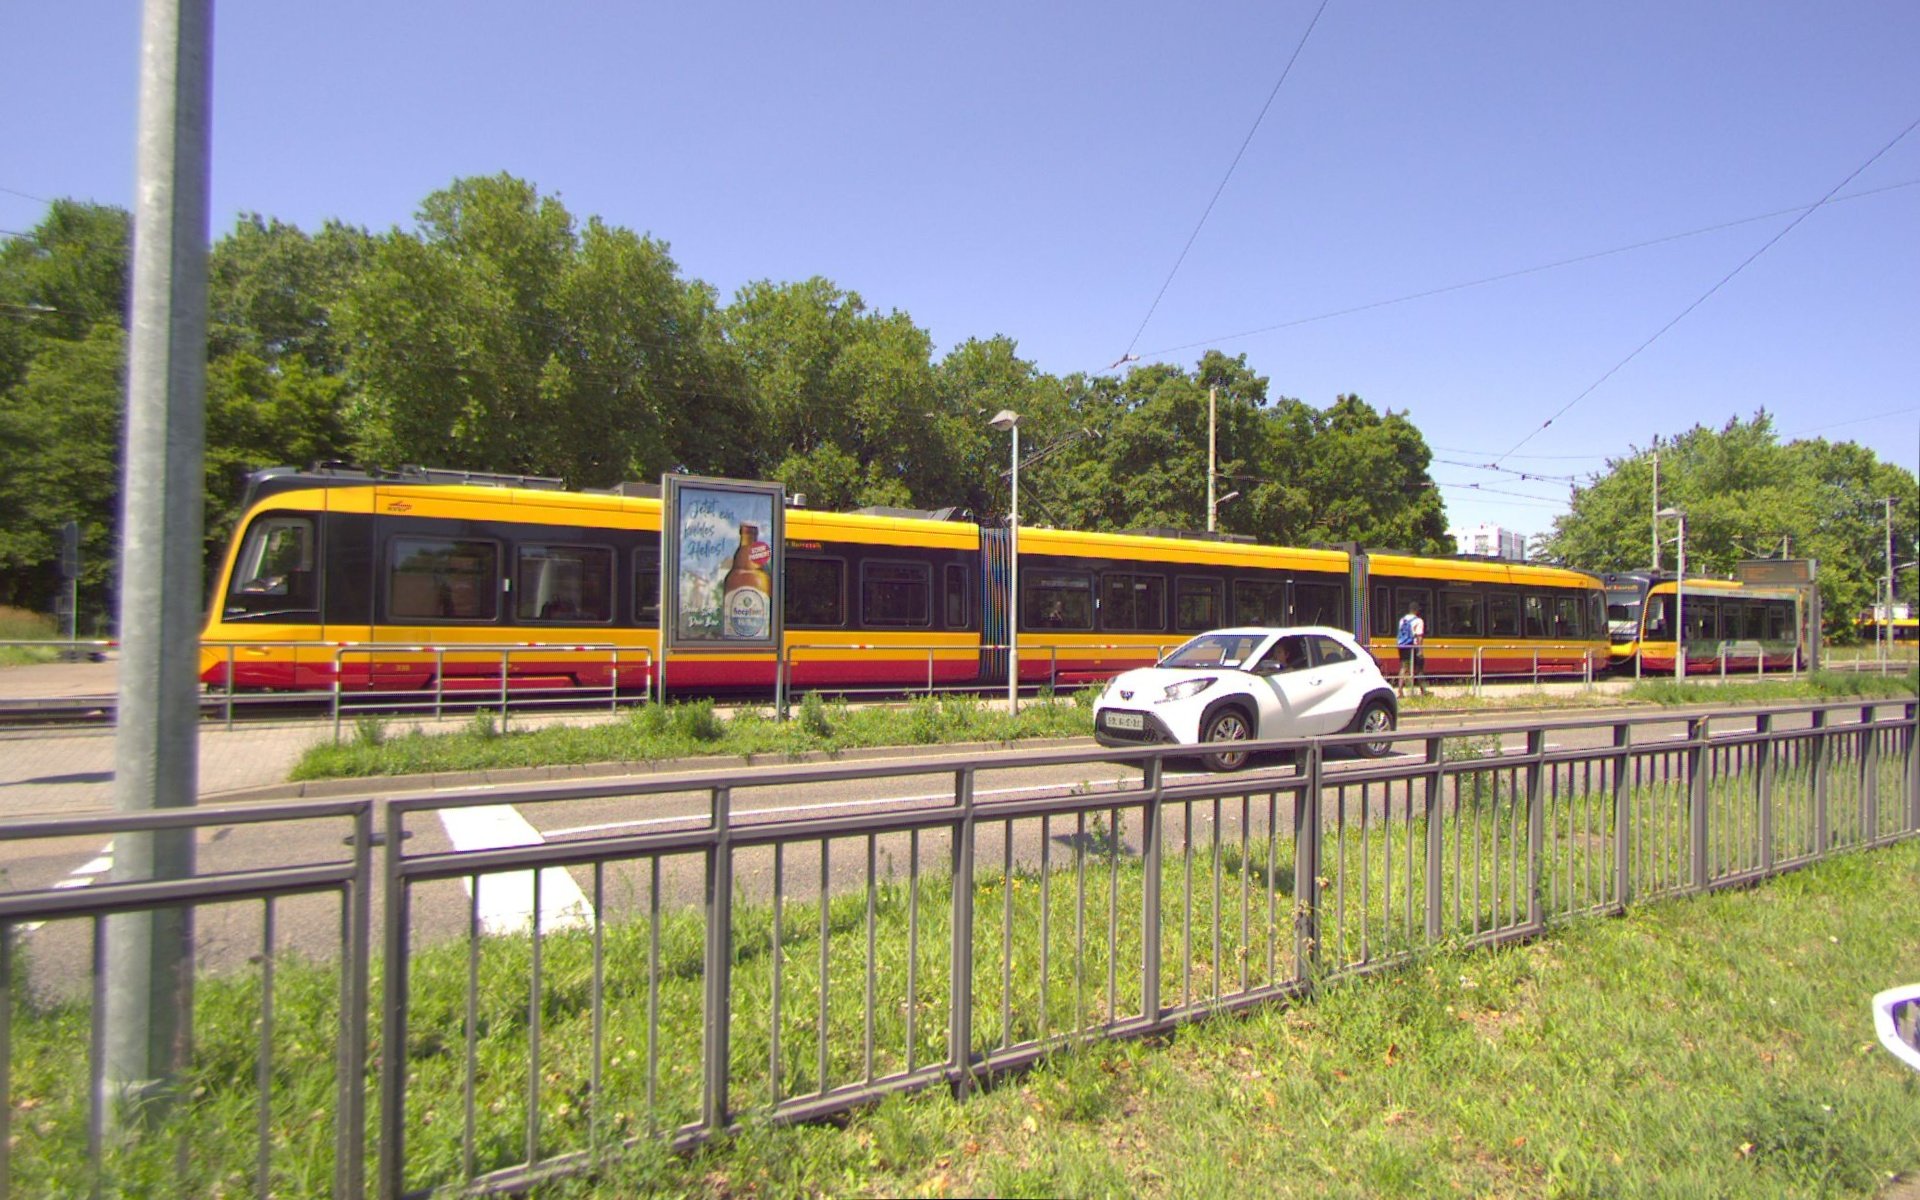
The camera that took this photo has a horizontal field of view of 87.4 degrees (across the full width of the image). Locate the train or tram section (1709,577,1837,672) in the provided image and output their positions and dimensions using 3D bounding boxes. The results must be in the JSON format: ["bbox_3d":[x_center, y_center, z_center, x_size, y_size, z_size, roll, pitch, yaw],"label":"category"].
[{"bbox_3d":[36.208,1.042,44.485,12.371,3.673,3.013,1,0,-45],"label":"train or tram section"}]

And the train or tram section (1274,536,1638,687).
[{"bbox_3d":[15.229,0.426,30.105,13.106,3.817,3.029,2,0,-30],"label":"train or tram section"}]

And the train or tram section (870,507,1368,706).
[{"bbox_3d":[4.196,0.248,23.578,12.450,3.791,3.028,2,0,-31],"label":"train or tram section"}]

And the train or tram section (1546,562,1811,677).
[{"bbox_3d":[26.793,0.759,37.011,13.746,3.673,3.026,2,0,-33],"label":"train or tram section"}]

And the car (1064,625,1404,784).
[{"bbox_3d":[3.197,1.086,11.571,3.679,1.525,1.759,2,-1,-32],"label":"car"}]

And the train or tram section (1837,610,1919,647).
[{"bbox_3d":[97.178,2.990,101.347,3.002,3.512,13.197,1,0,-21],"label":"train or tram section"}]

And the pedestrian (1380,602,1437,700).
[{"bbox_3d":[8.508,0.955,19.050,0.768,1.815,0.628,1,1,-32],"label":"pedestrian"}]

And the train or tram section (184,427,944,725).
[{"bbox_3d":[-5.966,-0.203,17.359,11.408,3.907,2.935,2,0,-31],"label":"train or tram section"}]
